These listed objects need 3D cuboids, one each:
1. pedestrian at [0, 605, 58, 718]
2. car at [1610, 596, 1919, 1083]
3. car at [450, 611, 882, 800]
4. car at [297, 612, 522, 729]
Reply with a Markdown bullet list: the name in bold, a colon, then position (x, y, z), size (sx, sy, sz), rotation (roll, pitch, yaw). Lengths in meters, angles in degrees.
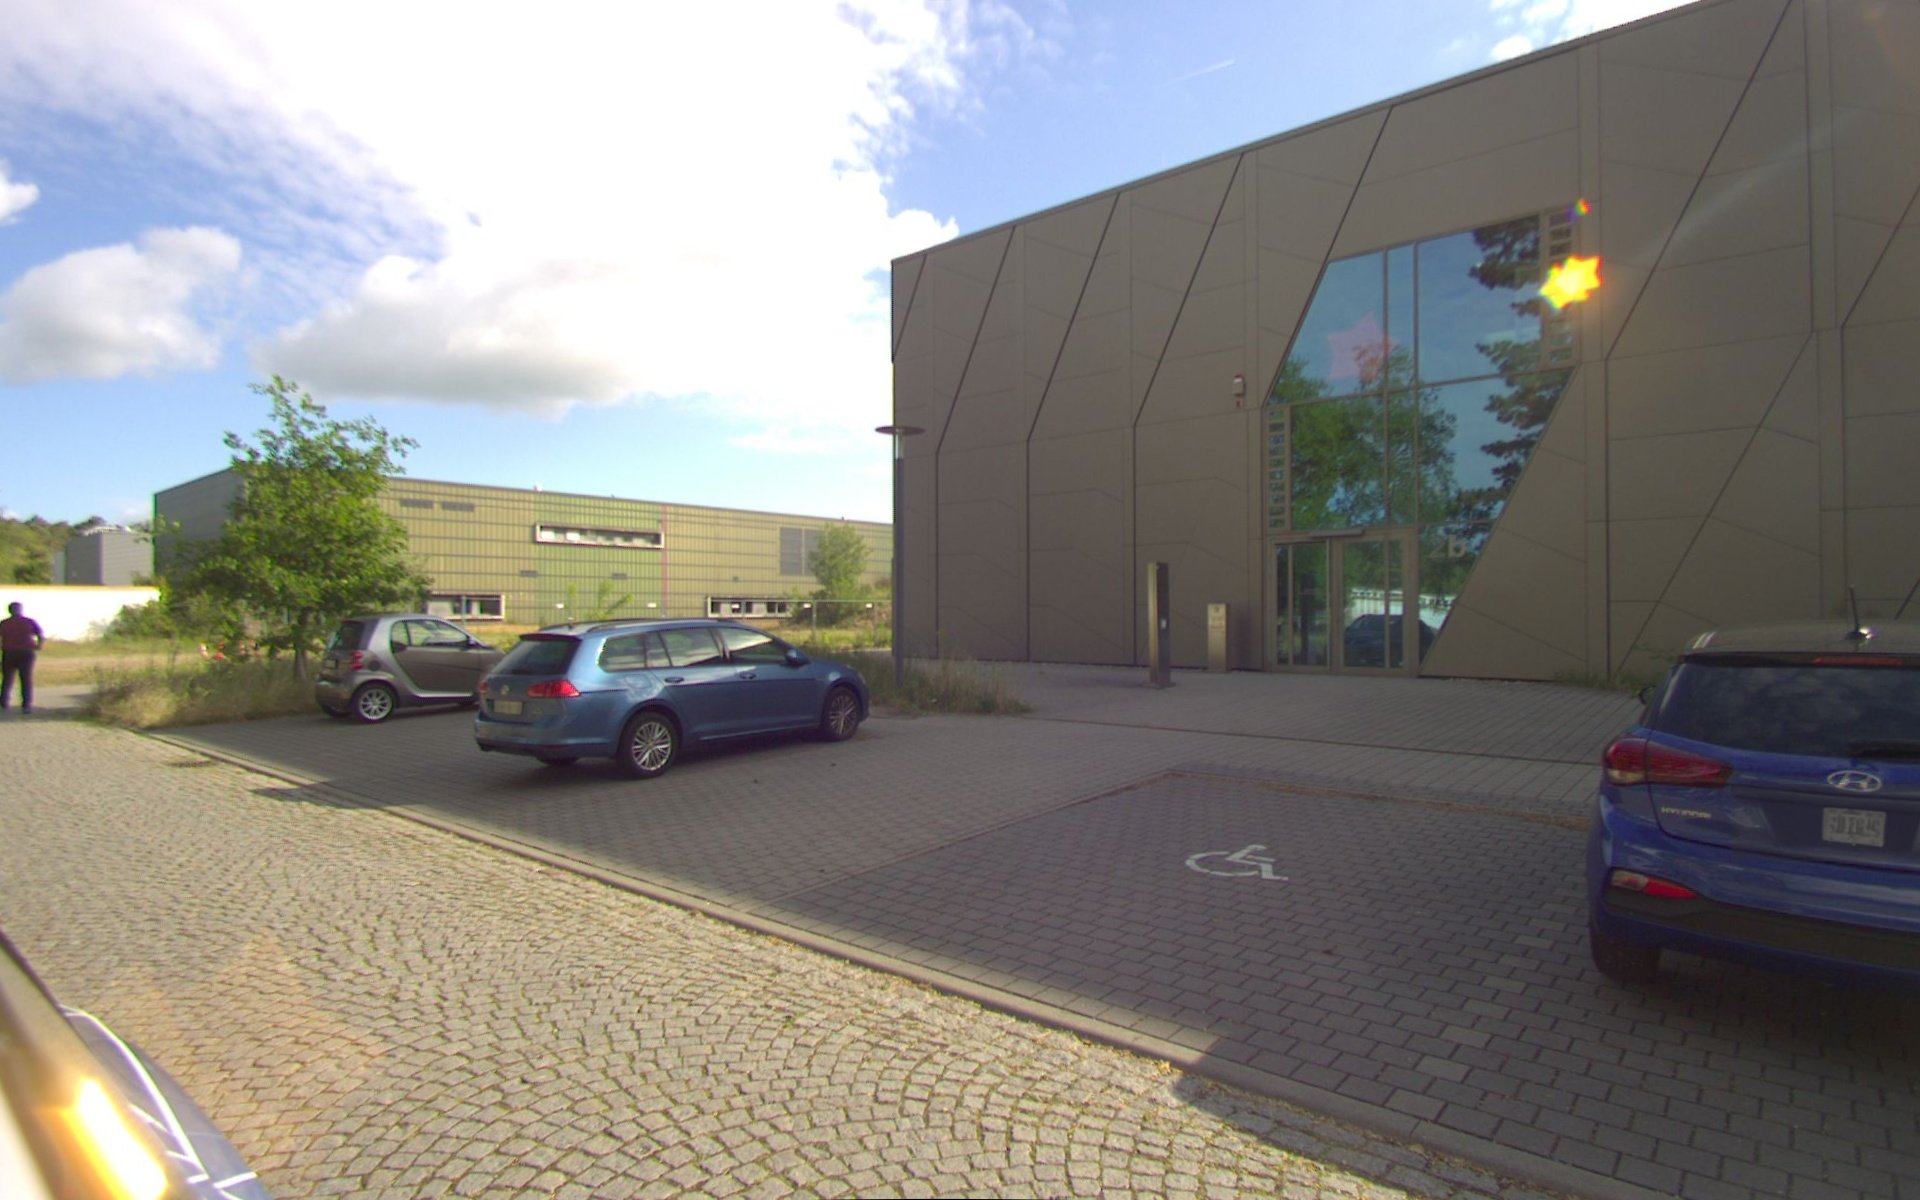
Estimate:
- **pedestrian**: position (-15.483, 0.989, 16.591), size (1.151, 1.785, 0.797), rotation (-1, -2, 36)
- **car**: position (4.315, 0.755, 4.597), size (1.719, 1.475, 3.795), rotation (-1, 0, 42)
- **car**: position (-2.870, 0.921, 10.728), size (1.678, 1.475, 4.216), rotation (-1, 0, 38)
- **car**: position (-8.447, 1.012, 15.631), size (1.517, 1.554, 2.672), rotation (-1, 0, 39)
